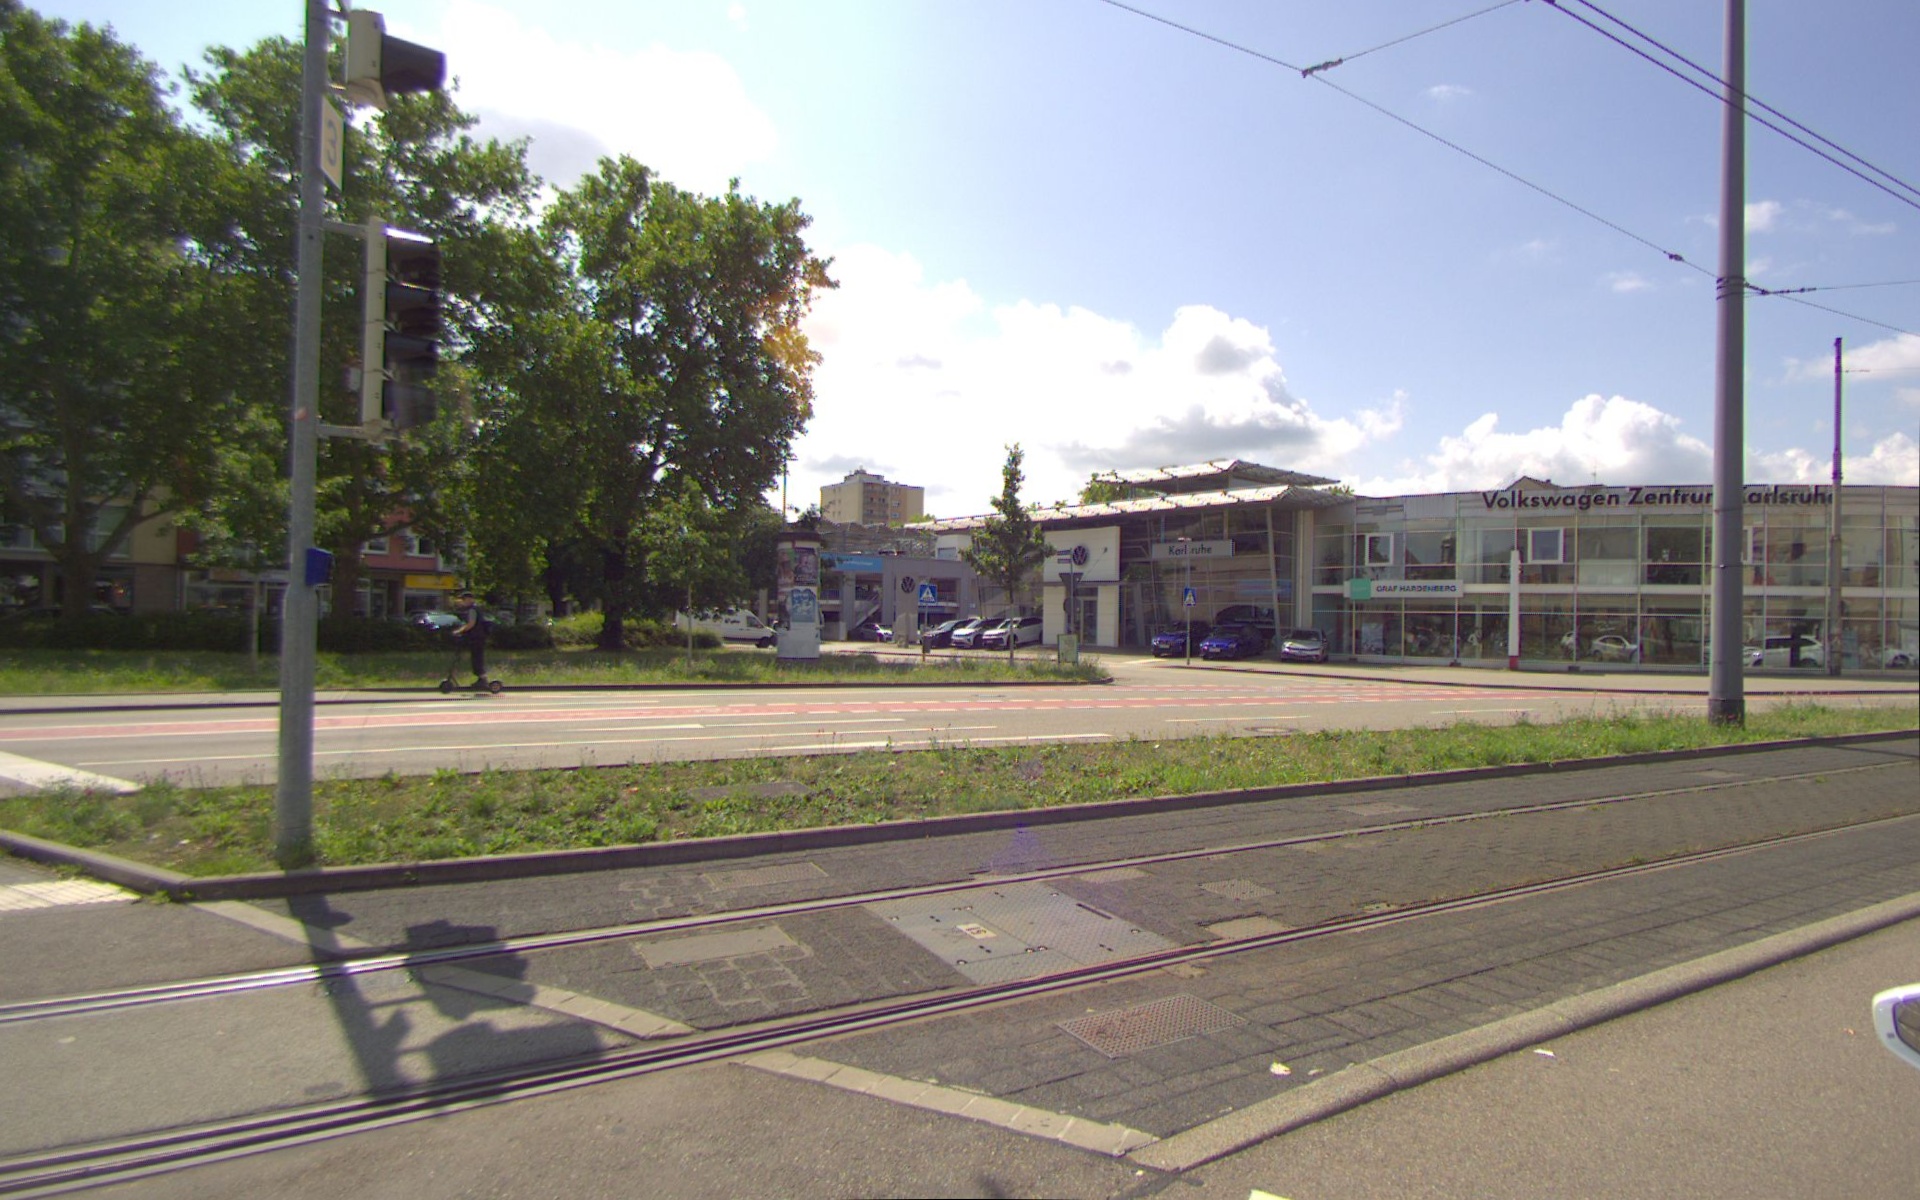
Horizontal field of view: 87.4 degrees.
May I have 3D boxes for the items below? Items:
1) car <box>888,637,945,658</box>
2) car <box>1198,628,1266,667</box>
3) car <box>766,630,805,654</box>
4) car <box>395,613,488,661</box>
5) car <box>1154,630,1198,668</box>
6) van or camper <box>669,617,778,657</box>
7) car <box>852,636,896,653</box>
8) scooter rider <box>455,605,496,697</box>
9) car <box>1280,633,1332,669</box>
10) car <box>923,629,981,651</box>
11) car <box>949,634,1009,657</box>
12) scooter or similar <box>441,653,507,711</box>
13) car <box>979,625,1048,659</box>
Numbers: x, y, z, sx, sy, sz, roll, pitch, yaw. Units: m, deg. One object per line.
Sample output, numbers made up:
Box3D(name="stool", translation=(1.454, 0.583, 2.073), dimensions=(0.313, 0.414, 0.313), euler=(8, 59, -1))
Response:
Box3D(name="car", translation=(-2.628, 2.903, 61.670), dimensions=(1.533, 1.262, 3.624), euler=(0, -2, 38))
Box3D(name="car", translation=(12.224, 2.087, 45.008), dimensions=(1.634, 1.493, 3.772), euler=(0, 1, 38))
Box3D(name="car", translation=(-12.554, 2.965, 72.060), dimensions=(1.971, 1.639, 3.980), euler=(1, -2, -21))
Box3D(name="car", translation=(-22.811, 1.606, 44.157), dimensions=(3.932, 2.040, 1.994), euler=(-1, -1, 34))
Box3D(name="car", translation=(10.243, 2.259, 47.465), dimensions=(1.741, 1.695, 3.641), euler=(0, -1, 17))
Box3D(name="van or camper", translation=(-15.637, 2.471, 66.456), dimensions=(6.592, 2.532, 2.564), euler=(1, -1, -25))
Box3D(name="car", translation=(-7.119, 3.666, 82.940), dimensions=(3.586, 1.262, 1.550), euler=(-1, -2, 41))
Box3D(name="scooter rider", translation=(-9.289, 0.968, 19.262), dimensions=(0.641, 1.730, 0.774), euler=(1, -1, -29))
Box3D(name="car", translation=(15.337, 2.210, 44.411), dimensions=(1.800, 1.466, 3.944), euler=(0, -2, 25))
Box3D(name="car", translation=(-0.462, 2.395, 59.882), dimensions=(1.533, 1.262, 3.624), euler=(0, -2, 38))
Box3D(name="car", translation=(1.126, 2.616, 58.283), dimensions=(1.535, 1.262, 3.620), euler=(-1, -2, 42))
Box3D(name="scooter or similar", translation=(-9.311, 1.552, 19.245), dimensions=(1.079, 1.046, 0.800), euler=(1, -1, -29))
Box3D(name="car", translation=(3.037, 2.347, 56.431), dimensions=(3.837, 1.797, 1.679), euler=(2, -2, -43))
